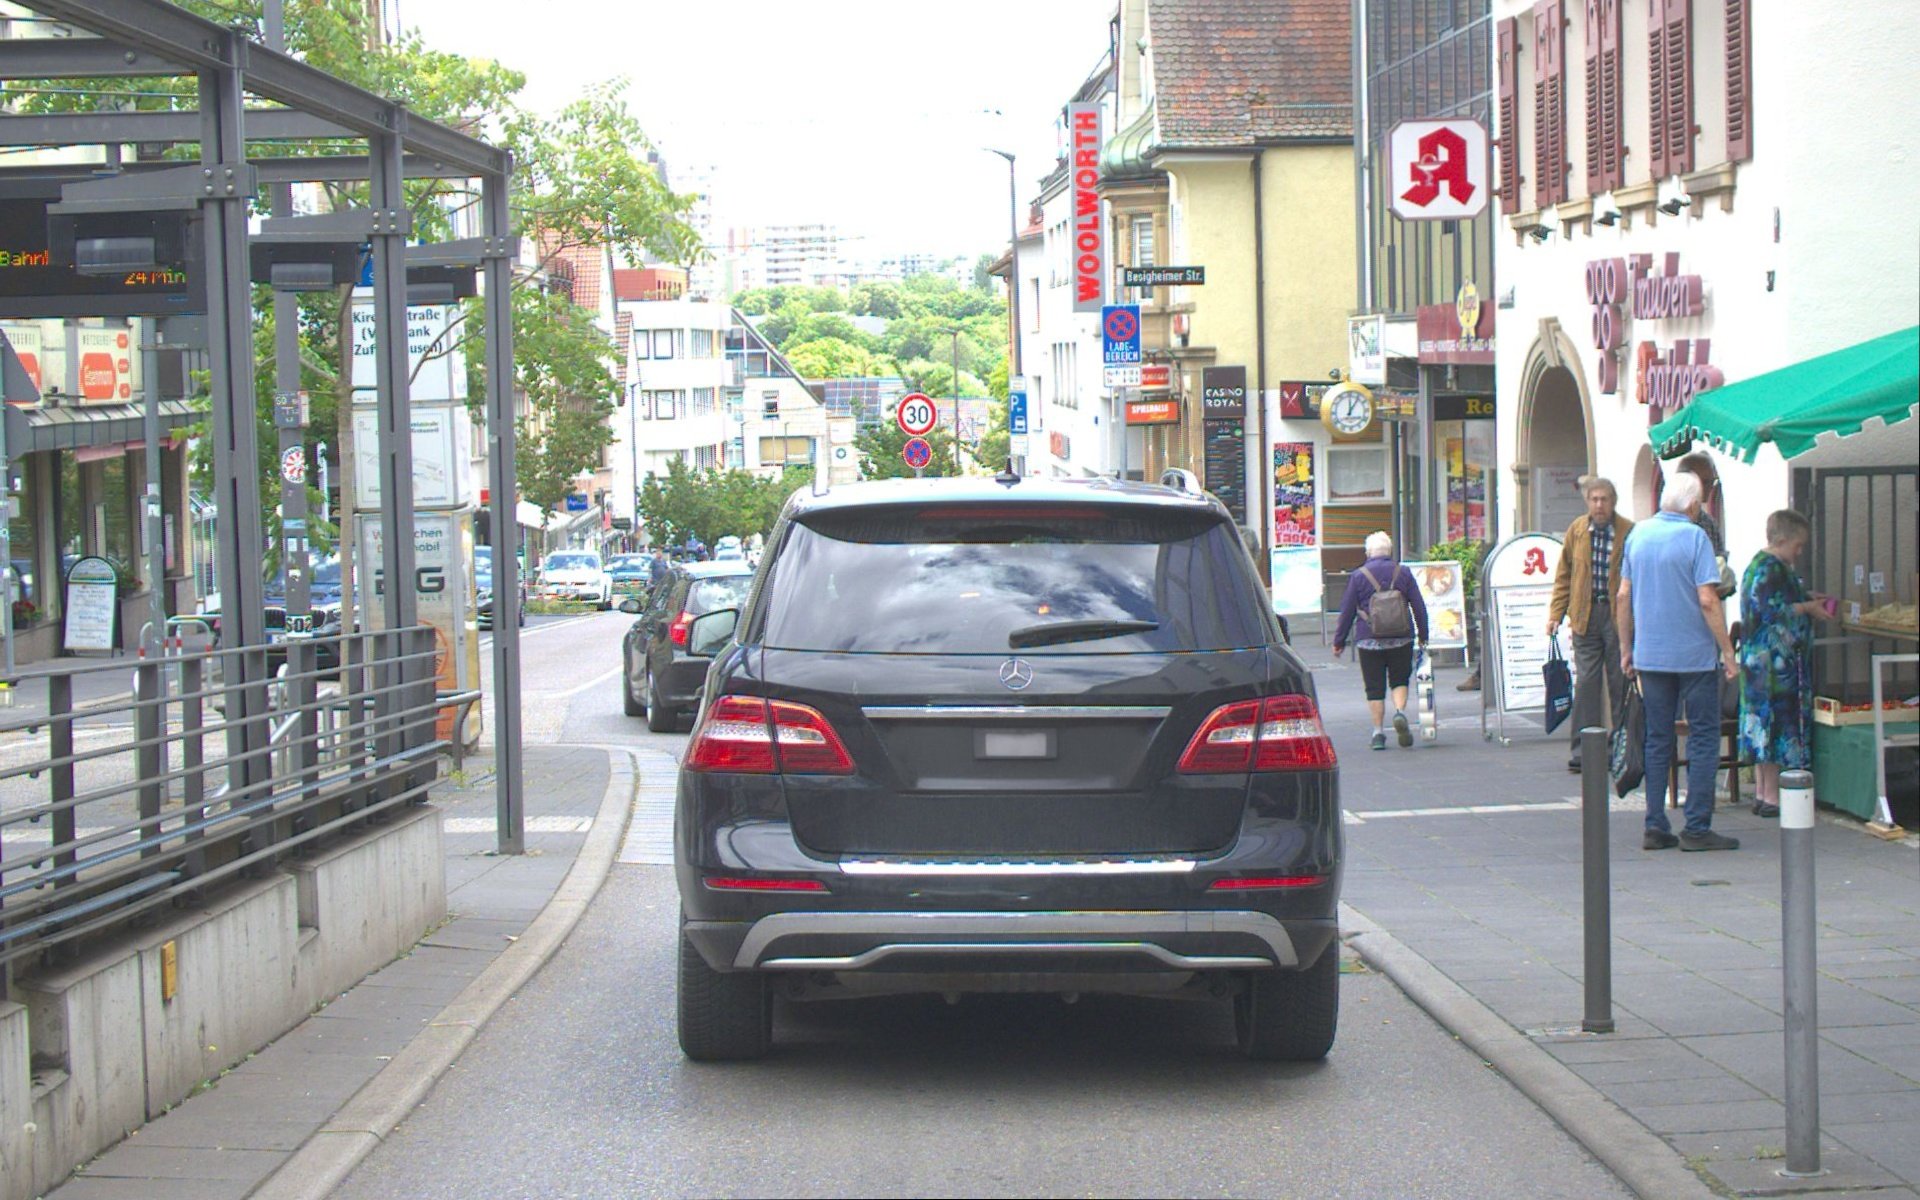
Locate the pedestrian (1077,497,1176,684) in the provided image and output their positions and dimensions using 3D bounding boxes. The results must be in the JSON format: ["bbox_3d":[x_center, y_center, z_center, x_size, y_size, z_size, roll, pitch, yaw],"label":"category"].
[{"bbox_3d":[1.511,-0.092,31.093,0.824,1.660,0.802,-1,1,5],"label":"pedestrian"}]

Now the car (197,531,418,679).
[{"bbox_3d":[-8.085,0.015,43.002,2.006,1.688,4.608,0,2,-2],"label":"car"}]

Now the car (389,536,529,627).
[{"bbox_3d":[-8.755,-0.357,60.436,1.926,1.487,4.843,1,1,-2],"label":"car"}]

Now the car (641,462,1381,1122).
[{"bbox_3d":[0.108,0.469,11.185,1.943,1.734,4.179,0,1,-1],"label":"car"}]

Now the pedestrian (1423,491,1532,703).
[{"bbox_3d":[4.403,-0.034,29.315,0.774,1.763,0.817,-1,1,0],"label":"pedestrian"}]

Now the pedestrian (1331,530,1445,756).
[{"bbox_3d":[2.953,0.284,23.771,0.724,1.526,0.808,-1,1,5],"label":"pedestrian"}]

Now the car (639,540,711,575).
[{"bbox_3d":[-16.320,-2.420,196.767,3.986,1.744,2.000,-3,0,-5],"label":"car"}]

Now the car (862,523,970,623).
[{"bbox_3d":[-0.757,-0.483,59.848,1.748,1.602,3.800,-3,1,0],"label":"car"}]

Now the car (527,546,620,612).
[{"bbox_3d":[-9.318,-0.531,83.149,1.926,1.506,4.262,1,1,-2],"label":"car"}]

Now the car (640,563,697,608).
[{"bbox_3d":[-10.301,-0.513,121.719,1.926,1.491,4.263,1,1,-4],"label":"car"}]

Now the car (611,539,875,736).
[{"bbox_3d":[-1.928,0.271,29.536,1.785,1.535,3.745,-2,1,-11],"label":"car"}]

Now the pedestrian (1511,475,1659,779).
[{"bbox_3d":[3.777,0.156,20.807,0.786,1.795,0.676,-1,1,5],"label":"pedestrian"}]

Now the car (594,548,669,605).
[{"bbox_3d":[-9.559,-0.679,100.413,1.926,1.616,4.640,0,0,-2],"label":"car"}]

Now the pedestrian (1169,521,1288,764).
[{"bbox_3d":[1.868,0.280,23.857,0.772,1.639,0.870,-1,1,5],"label":"pedestrian"}]

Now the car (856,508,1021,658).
[{"bbox_3d":[-0.221,-0.259,44.276,1.877,1.793,4.732,-1,1,2],"label":"car"}]

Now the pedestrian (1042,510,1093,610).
[{"bbox_3d":[1.885,-0.708,60.630,0.796,1.721,1.053,-2,1,-1],"label":"pedestrian"}]

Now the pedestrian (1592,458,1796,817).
[{"bbox_3d":[3.900,0.187,18.269,0.780,1.851,0.701,-1,1,42],"label":"pedestrian"}]

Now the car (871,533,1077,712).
[{"bbox_3d":[0.101,0.163,32.839,1.803,1.550,3.954,-2,1,-1],"label":"car"}]

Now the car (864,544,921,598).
[{"bbox_3d":[-2.534,-1.095,127.882,1.938,1.885,4.707,-3,1,-2],"label":"car"}]

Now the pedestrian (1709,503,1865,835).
[{"bbox_3d":[4.115,0.332,17.141,0.623,1.607,0.702,-1,1,4],"label":"pedestrian"}]

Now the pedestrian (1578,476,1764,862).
[{"bbox_3d":[3.339,0.311,16.126,0.701,1.760,0.625,-1,1,25],"label":"pedestrian"}]

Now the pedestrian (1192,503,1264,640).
[{"bbox_3d":[3.398,-0.369,43.607,0.864,1.701,0.945,-1,1,5],"label":"pedestrian"}]
